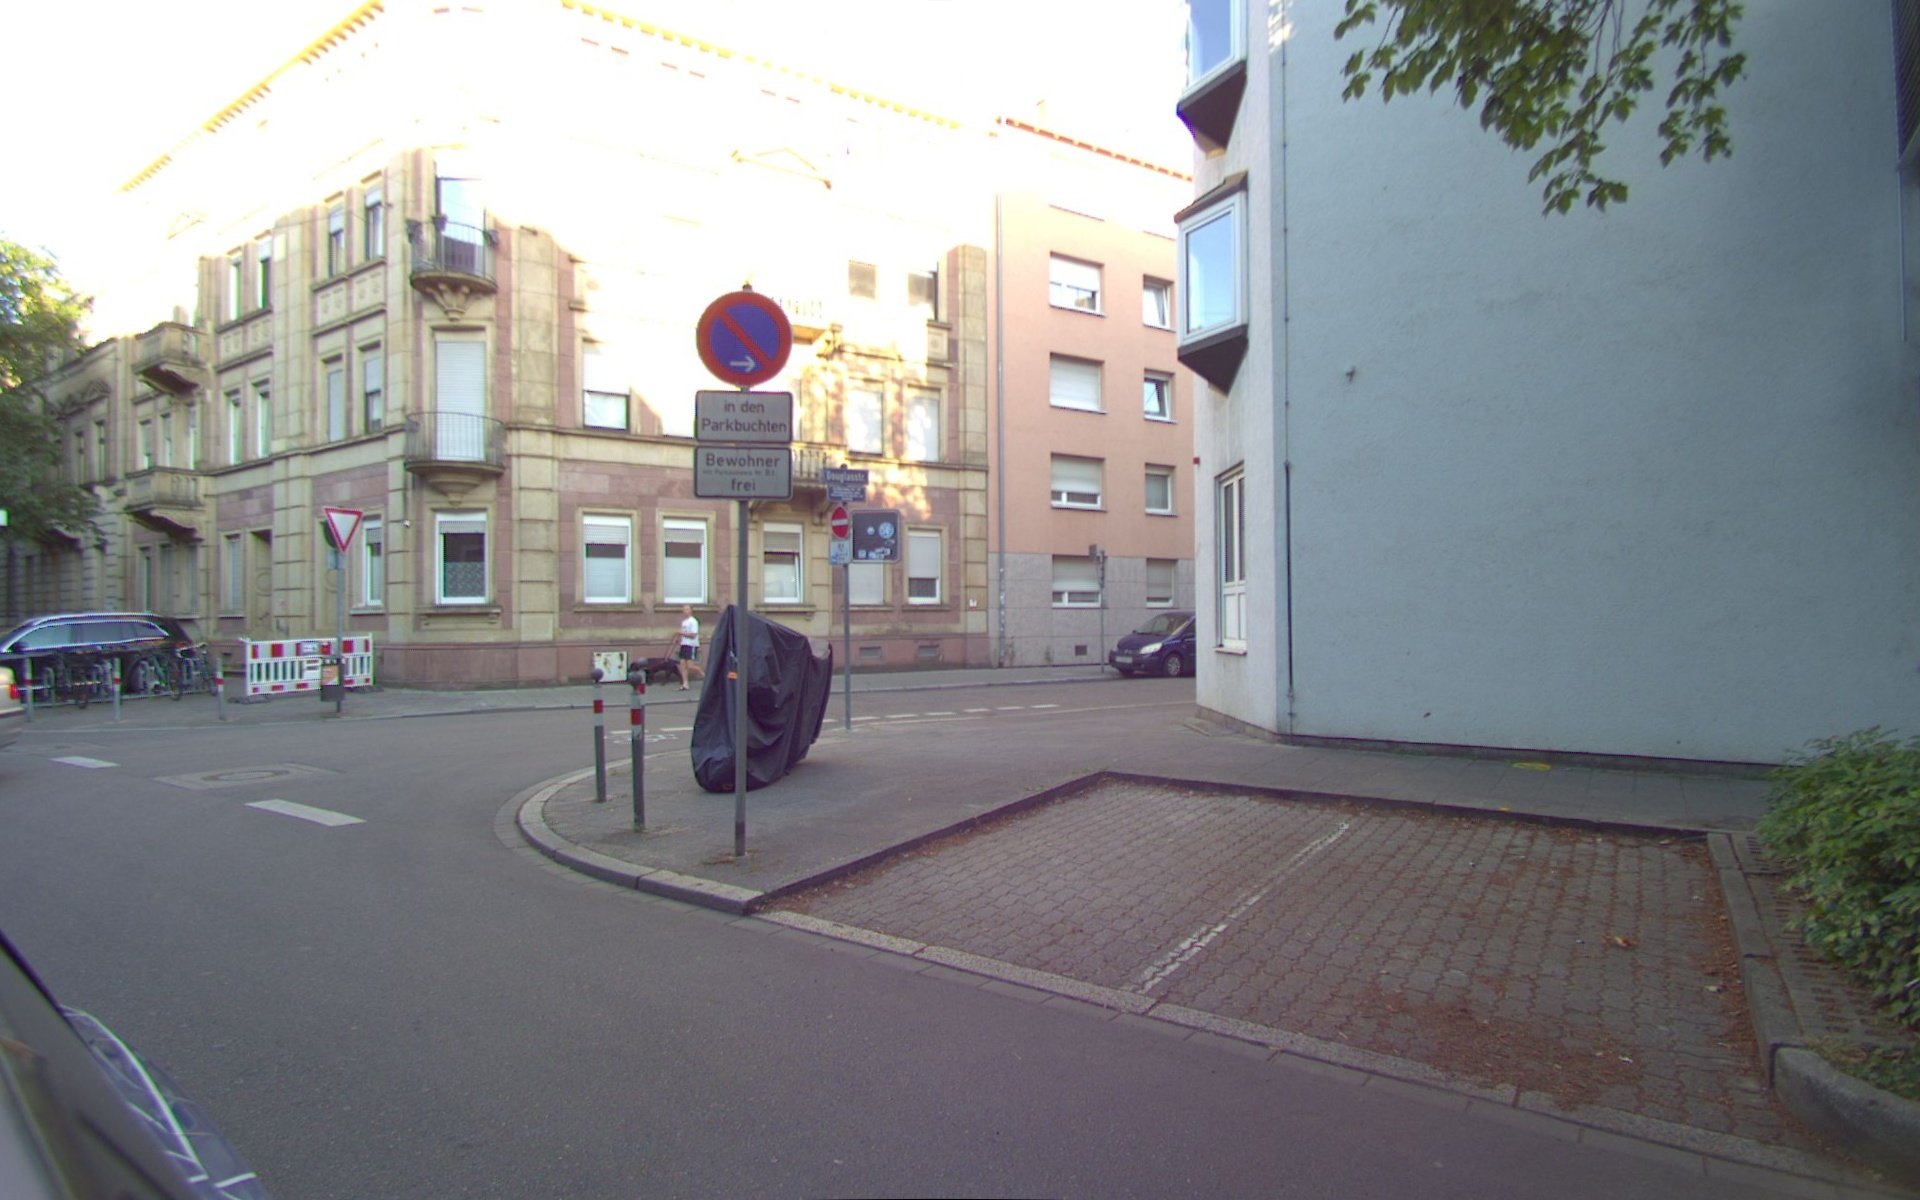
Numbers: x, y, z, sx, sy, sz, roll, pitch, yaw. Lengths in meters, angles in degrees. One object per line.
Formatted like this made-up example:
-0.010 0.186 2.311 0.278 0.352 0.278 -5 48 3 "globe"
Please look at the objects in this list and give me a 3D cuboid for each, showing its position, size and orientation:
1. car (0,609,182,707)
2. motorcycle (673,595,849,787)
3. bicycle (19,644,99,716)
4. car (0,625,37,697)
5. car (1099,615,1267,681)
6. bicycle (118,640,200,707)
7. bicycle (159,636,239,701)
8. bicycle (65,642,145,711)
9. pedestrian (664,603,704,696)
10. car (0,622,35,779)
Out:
-17.892 1.076 19.460 1.740 1.795 4.367 -1 -2 39 "car"
-1.719 0.746 9.198 0.809 1.516 2.276 -1 -1 10 "motorcycle"
-15.618 1.358 17.520 2.034 1.159 0.555 -1 -1 34 "bicycle"
-24.298 1.441 23.388 1.740 1.690 4.190 -1 -2 39 "car"
5.744 1.169 25.848 4.297 1.529 1.789 1 -2 -36 "car"
-14.793 1.336 18.677 2.033 1.159 0.556 -1 -1 33 "bicycle"
-14.439 1.275 19.181 2.033 1.159 0.556 -1 -1 33 "bicycle"
-15.265 1.334 18.049 2.034 1.159 0.555 -1 -1 34 "bicycle"
-5.547 0.976 20.313 0.640 1.821 0.575 1 -2 -31 "pedestrian"
-9.620 0.904 7.488 1.687 1.453 4.439 -1 -1 -3 "car"
